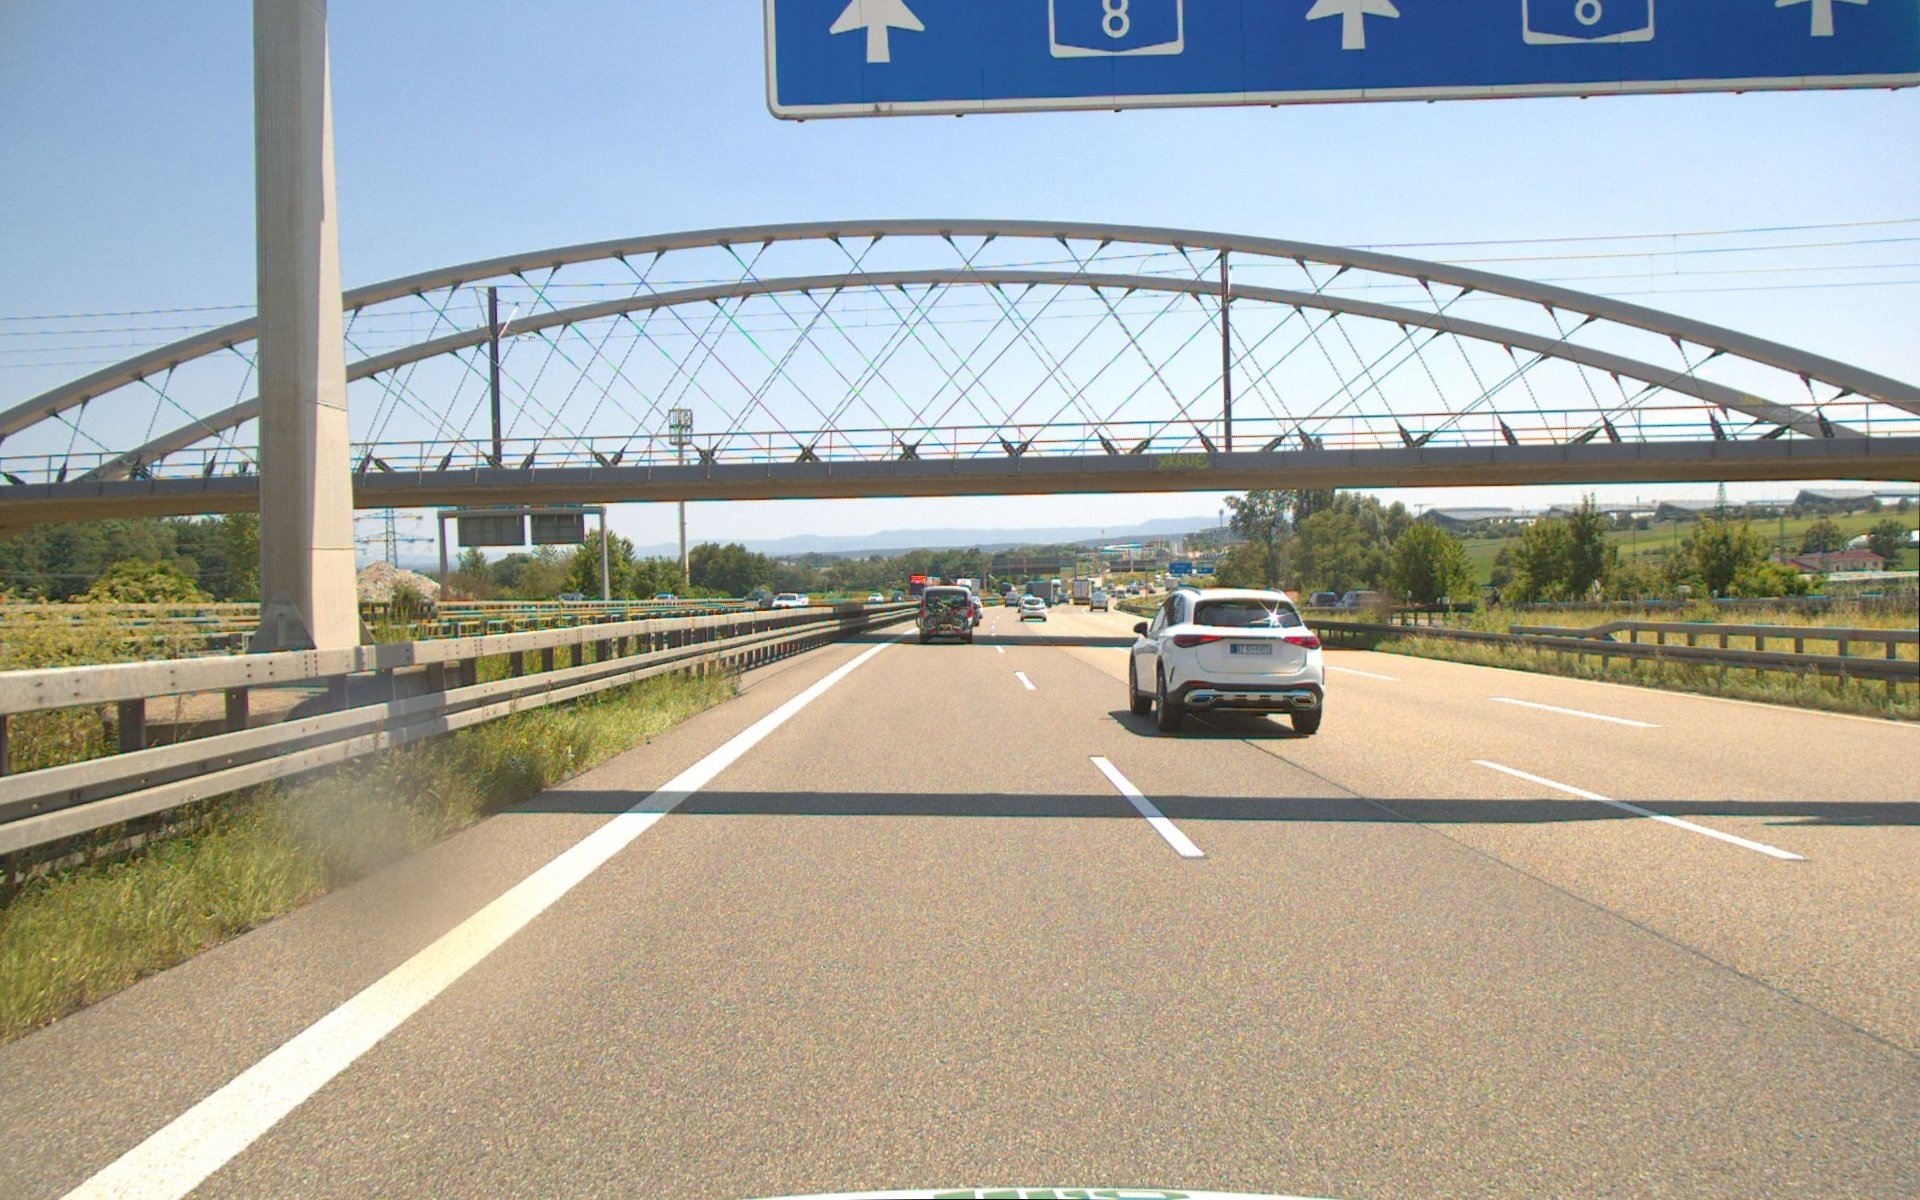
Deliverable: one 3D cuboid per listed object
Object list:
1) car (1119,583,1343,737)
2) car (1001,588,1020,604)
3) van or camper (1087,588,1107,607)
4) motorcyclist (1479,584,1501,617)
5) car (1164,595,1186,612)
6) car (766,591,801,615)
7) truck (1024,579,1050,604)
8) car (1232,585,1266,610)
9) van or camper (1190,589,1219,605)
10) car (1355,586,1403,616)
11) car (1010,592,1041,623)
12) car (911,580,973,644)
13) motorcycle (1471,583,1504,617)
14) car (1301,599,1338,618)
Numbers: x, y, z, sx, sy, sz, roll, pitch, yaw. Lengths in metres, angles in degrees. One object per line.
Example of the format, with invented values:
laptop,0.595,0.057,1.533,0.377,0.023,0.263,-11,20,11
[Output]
car,3.212,0.666,20.637,1.860,1.676,4.997,1,0,-1
car,6.556,-0.537,215.813,2.142,2.038,3.998,1,0,-3
van or camper,14.745,-0.261,178.316,2.111,2.049,4.306,1,0,3
motorcyclist,22.419,0.014,69.942,0.655,1.390,0.878,1,0,-1
car,26.553,0.379,204.476,1.954,2.049,3.997,1,0,-3
car,-12.758,0.185,119.824,1.888,1.668,4.977,0,0,1
truck,10.146,-1.071,218.821,2.648,3.163,10.656,1,0,-1
car,23.203,-0.158,132.862,1.900,1.957,4.178,1,0,-1
van or camper,32.440,-0.425,219.793,2.483,2.049,4.449,1,0,-10
car,22.930,0.075,90.707,1.664,1.602,4.128,1,0,1
car,4.180,0.464,105.974,1.887,1.952,4.518,1,0,1
car,-0.555,0.382,54.250,1.887,1.952,4.948,1,0,1
motorcycle,22.342,0.008,70.035,0.744,1.390,1.869,1,0,-1
car,25.620,0.591,117.975,1.665,1.299,3.999,1,0,-1
